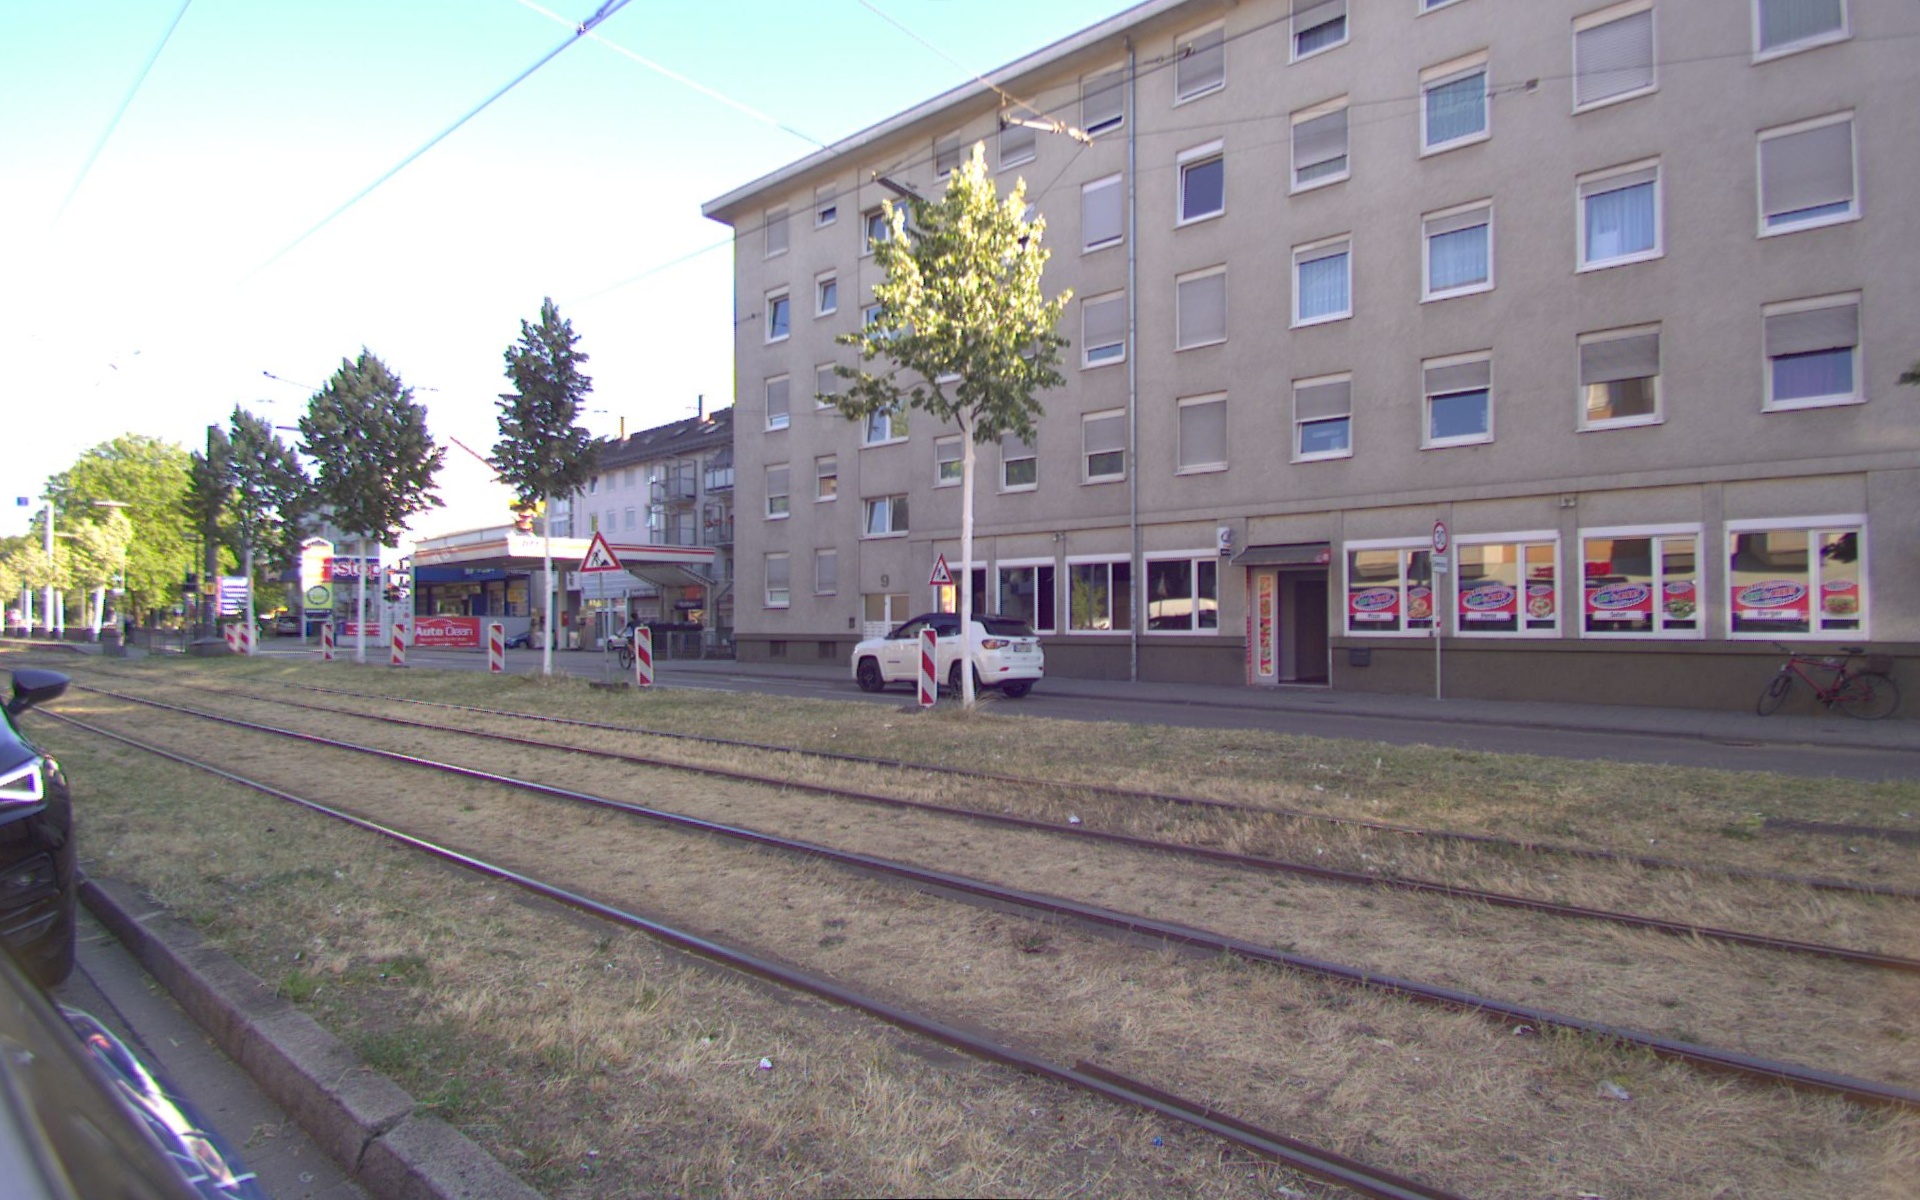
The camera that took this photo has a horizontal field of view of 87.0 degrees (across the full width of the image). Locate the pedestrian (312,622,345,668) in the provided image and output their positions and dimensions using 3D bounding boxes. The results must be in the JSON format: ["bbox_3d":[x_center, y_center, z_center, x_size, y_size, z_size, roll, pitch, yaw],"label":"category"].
[{"bbox_3d":[-18.256,1.295,29.255,0.581,1.280,0.655,-3,-1,42],"label":"pedestrian"}]

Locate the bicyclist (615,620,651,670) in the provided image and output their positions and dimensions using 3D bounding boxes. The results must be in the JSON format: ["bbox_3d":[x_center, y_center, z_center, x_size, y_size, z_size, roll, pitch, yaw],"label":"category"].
[{"bbox_3d":[-9.746,1.335,30.175,0.649,1.457,0.770,-2,-2,40],"label":"bicyclist"}]

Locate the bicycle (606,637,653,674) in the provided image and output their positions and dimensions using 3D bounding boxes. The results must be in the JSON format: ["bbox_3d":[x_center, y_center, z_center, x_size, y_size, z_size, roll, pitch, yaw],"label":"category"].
[{"bbox_3d":[-9.895,1.645,30.270,1.859,1.052,0.441,-1,-2,40],"label":"bicycle"}]

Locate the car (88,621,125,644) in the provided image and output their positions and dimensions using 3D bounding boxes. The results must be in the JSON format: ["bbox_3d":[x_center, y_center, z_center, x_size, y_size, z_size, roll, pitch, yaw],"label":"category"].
[{"bbox_3d":[-65.367,2.457,77.498,3.828,1.622,1.701,-1,0,43],"label":"car"}]

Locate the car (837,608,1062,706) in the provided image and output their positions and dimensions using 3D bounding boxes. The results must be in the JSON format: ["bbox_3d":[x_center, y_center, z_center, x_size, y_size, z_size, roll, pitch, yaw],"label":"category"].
[{"bbox_3d":[-0.299,1.097,20.280,4.394,1.748,1.971,-2,-4,44],"label":"car"}]

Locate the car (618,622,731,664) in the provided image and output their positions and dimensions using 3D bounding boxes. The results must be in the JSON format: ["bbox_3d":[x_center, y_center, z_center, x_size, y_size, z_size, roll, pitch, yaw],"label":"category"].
[{"bbox_3d":[-10.717,1.606,38.135,1.906,1.481,3.680,-4,-4,40],"label":"car"}]

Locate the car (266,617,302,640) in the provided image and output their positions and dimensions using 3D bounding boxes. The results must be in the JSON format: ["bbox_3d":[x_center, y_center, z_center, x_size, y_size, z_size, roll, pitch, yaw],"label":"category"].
[{"bbox_3d":[-49.983,2.092,74.802,1.756,1.567,4.006,-1,0,-40],"label":"car"}]

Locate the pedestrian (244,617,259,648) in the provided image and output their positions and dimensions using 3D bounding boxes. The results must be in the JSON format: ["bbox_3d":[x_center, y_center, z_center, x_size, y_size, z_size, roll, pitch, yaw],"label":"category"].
[{"bbox_3d":[-46.183,2.128,65.978,0.583,2.029,0.623,-2,-2,42],"label":"pedestrian"}]

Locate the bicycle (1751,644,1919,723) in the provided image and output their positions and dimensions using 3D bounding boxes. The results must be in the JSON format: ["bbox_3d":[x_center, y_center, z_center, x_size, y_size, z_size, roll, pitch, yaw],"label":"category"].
[{"bbox_3d":[12.729,1.186,14.756,1.844,1.031,0.601,-1,0,41],"label":"bicycle"}]

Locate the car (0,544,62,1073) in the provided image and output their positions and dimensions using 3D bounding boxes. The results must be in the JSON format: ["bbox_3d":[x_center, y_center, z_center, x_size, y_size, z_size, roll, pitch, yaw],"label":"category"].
[{"bbox_3d":[-5.048,0.706,4.008,3.998,1.690,1.752,-1,-1,41],"label":"car"}]
